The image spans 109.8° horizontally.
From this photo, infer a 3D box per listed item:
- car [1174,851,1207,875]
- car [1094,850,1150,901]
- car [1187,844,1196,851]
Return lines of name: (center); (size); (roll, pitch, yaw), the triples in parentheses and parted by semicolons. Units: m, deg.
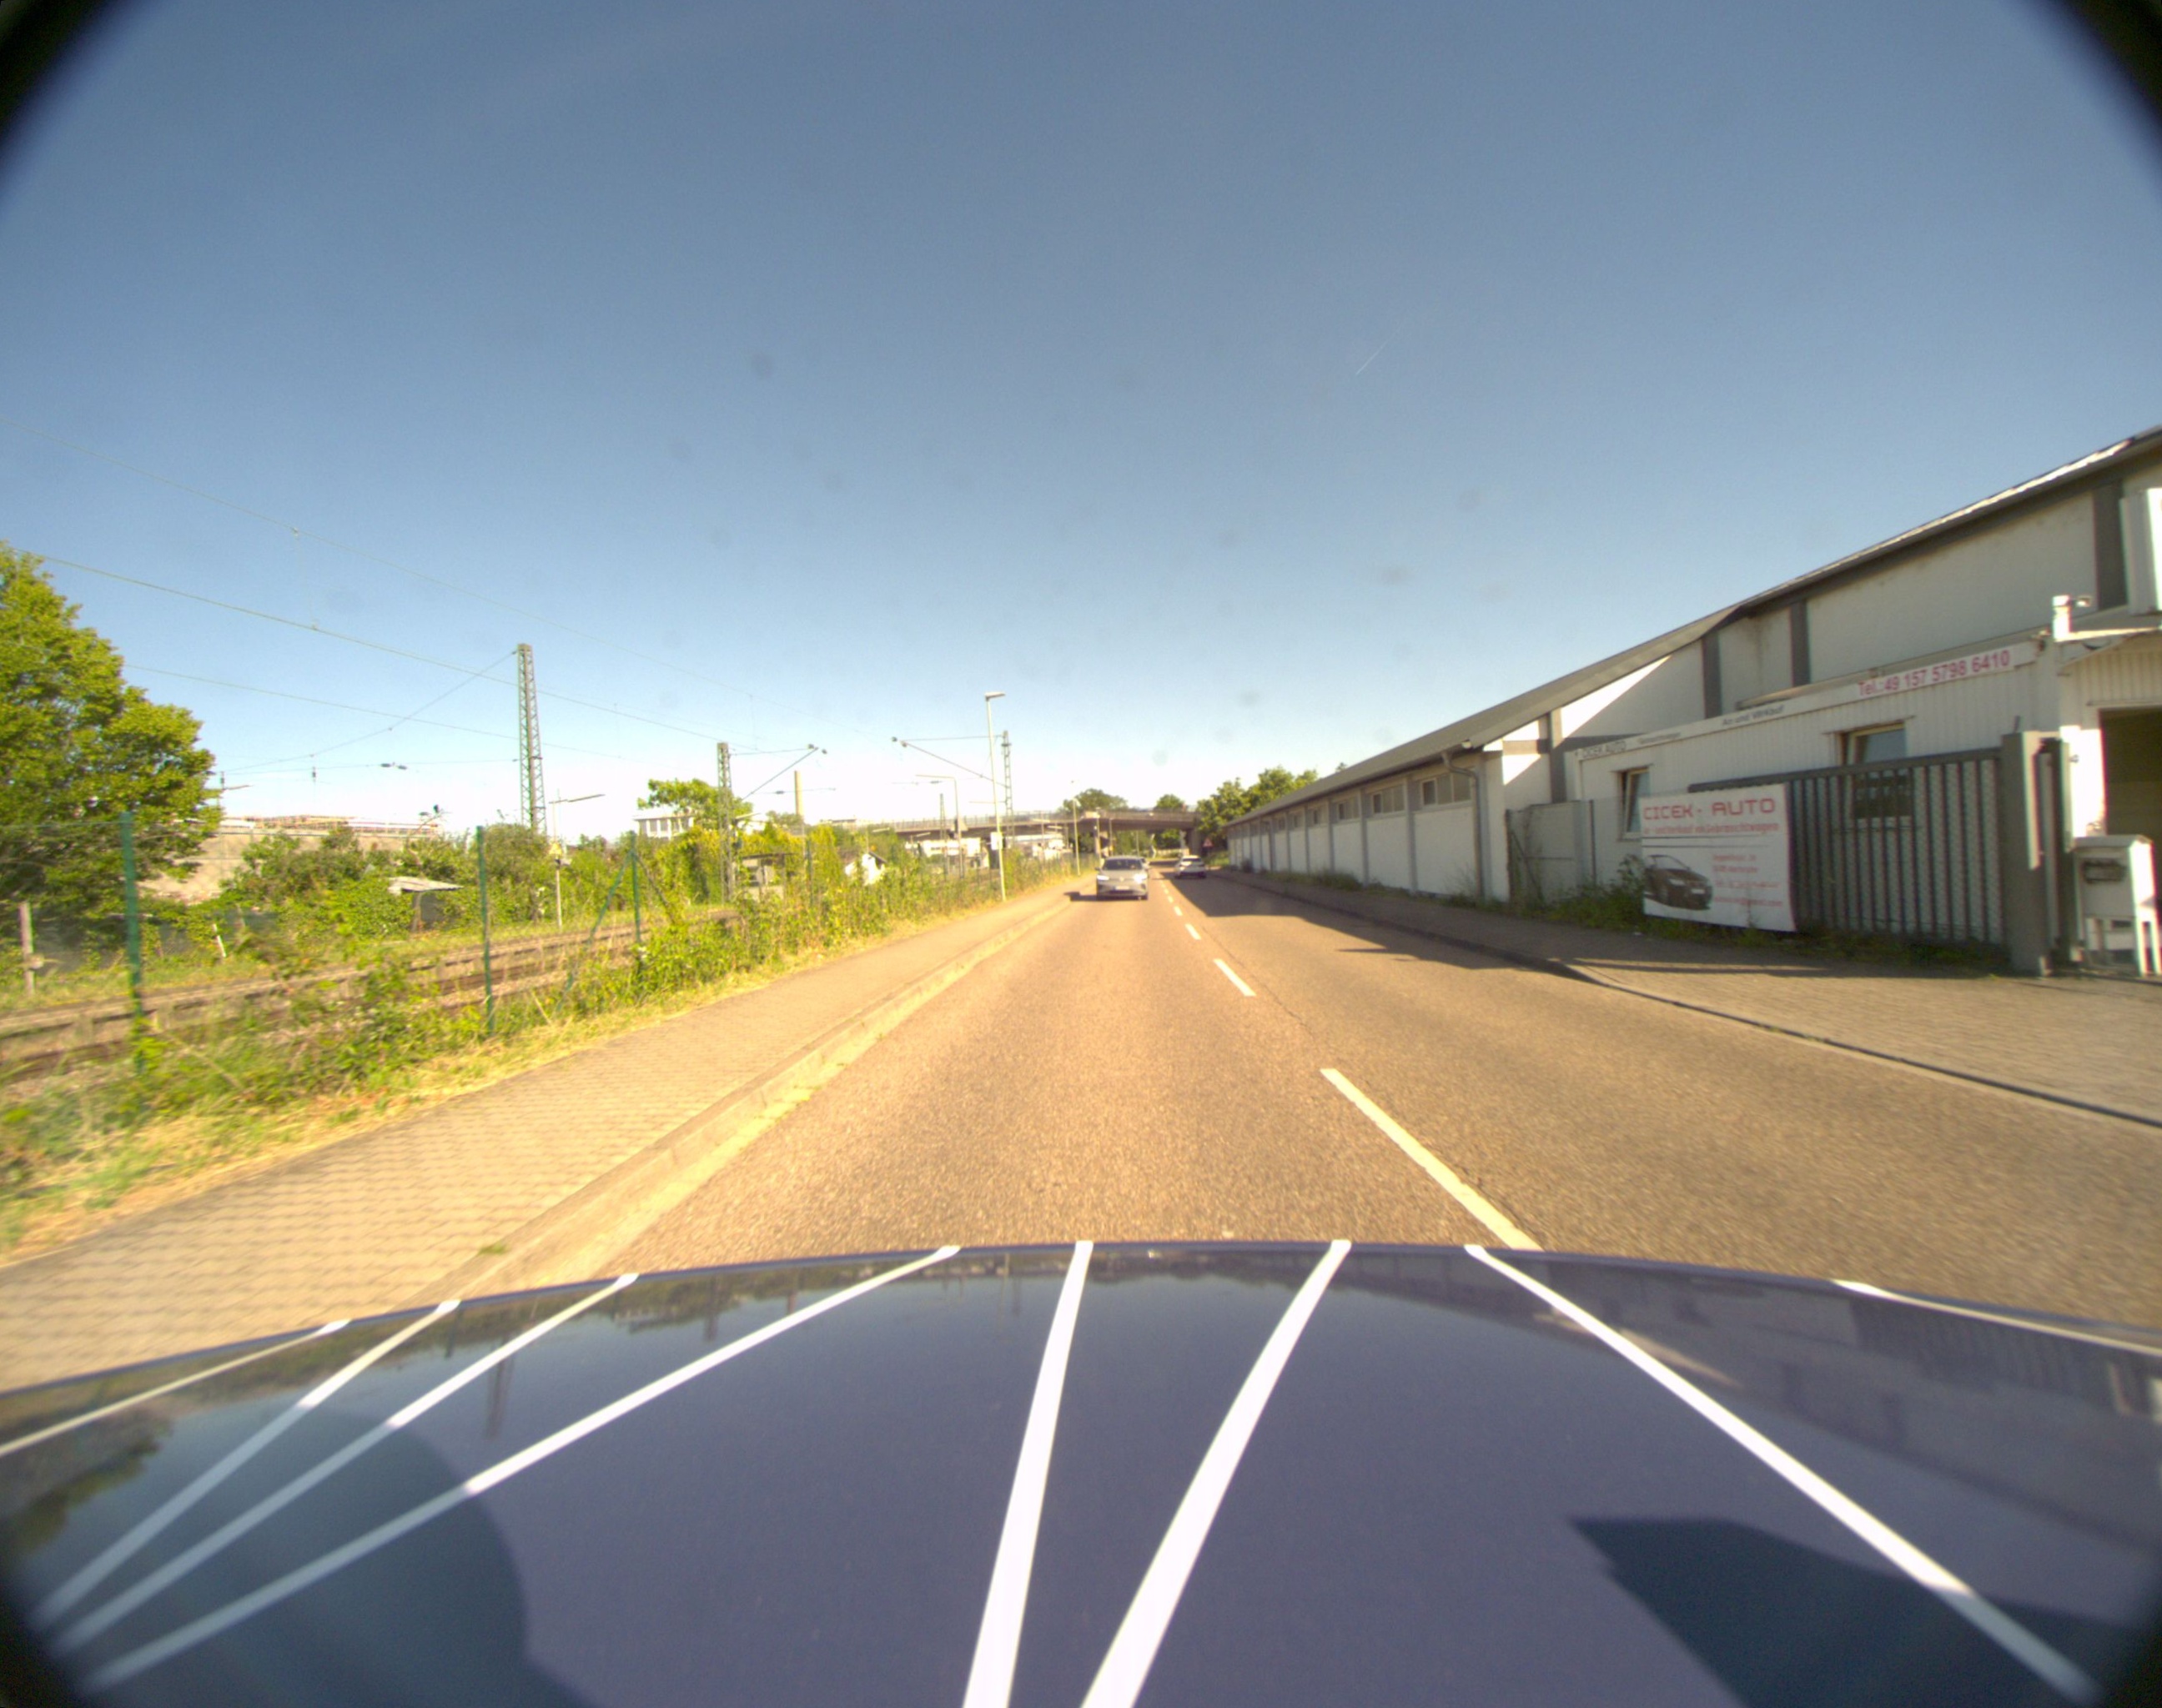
car: (7.209, 0.535, 50.221); (1.812, 1.469, 4.689); (-1, 0, 4)
car: (1.614, 0.743, 28.420); (1.849, 1.621, 4.296); (-3, 1, 5)
car: (29.612, -1.750, 203.842); (1.997, 1.767, 4.368); (-3, 1, 10)
